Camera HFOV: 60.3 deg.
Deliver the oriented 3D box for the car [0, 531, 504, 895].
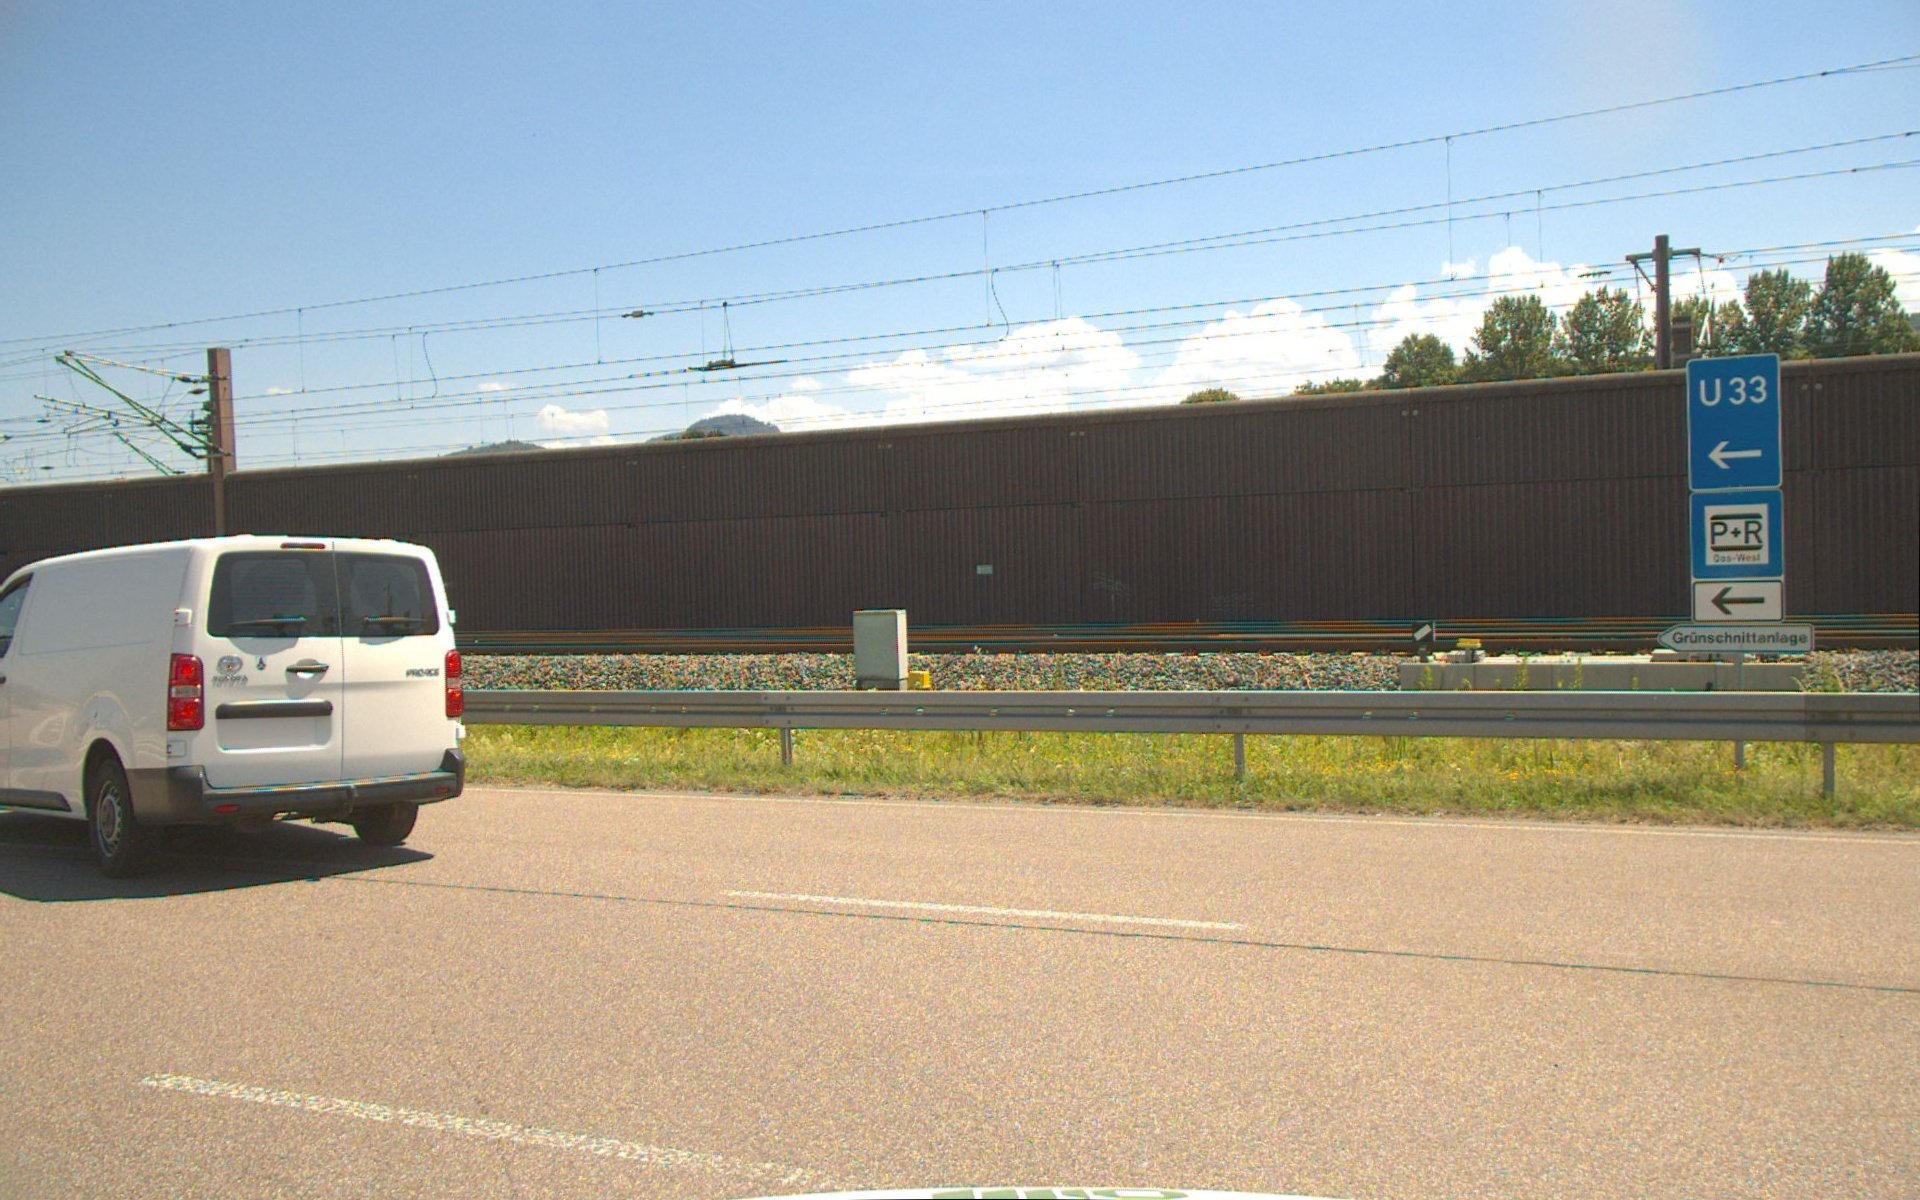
[{"bbox_3d":[-5.162,0.656,11.085,4.799,1.914,1.938,-2,-1,45],"label":"car"}]
